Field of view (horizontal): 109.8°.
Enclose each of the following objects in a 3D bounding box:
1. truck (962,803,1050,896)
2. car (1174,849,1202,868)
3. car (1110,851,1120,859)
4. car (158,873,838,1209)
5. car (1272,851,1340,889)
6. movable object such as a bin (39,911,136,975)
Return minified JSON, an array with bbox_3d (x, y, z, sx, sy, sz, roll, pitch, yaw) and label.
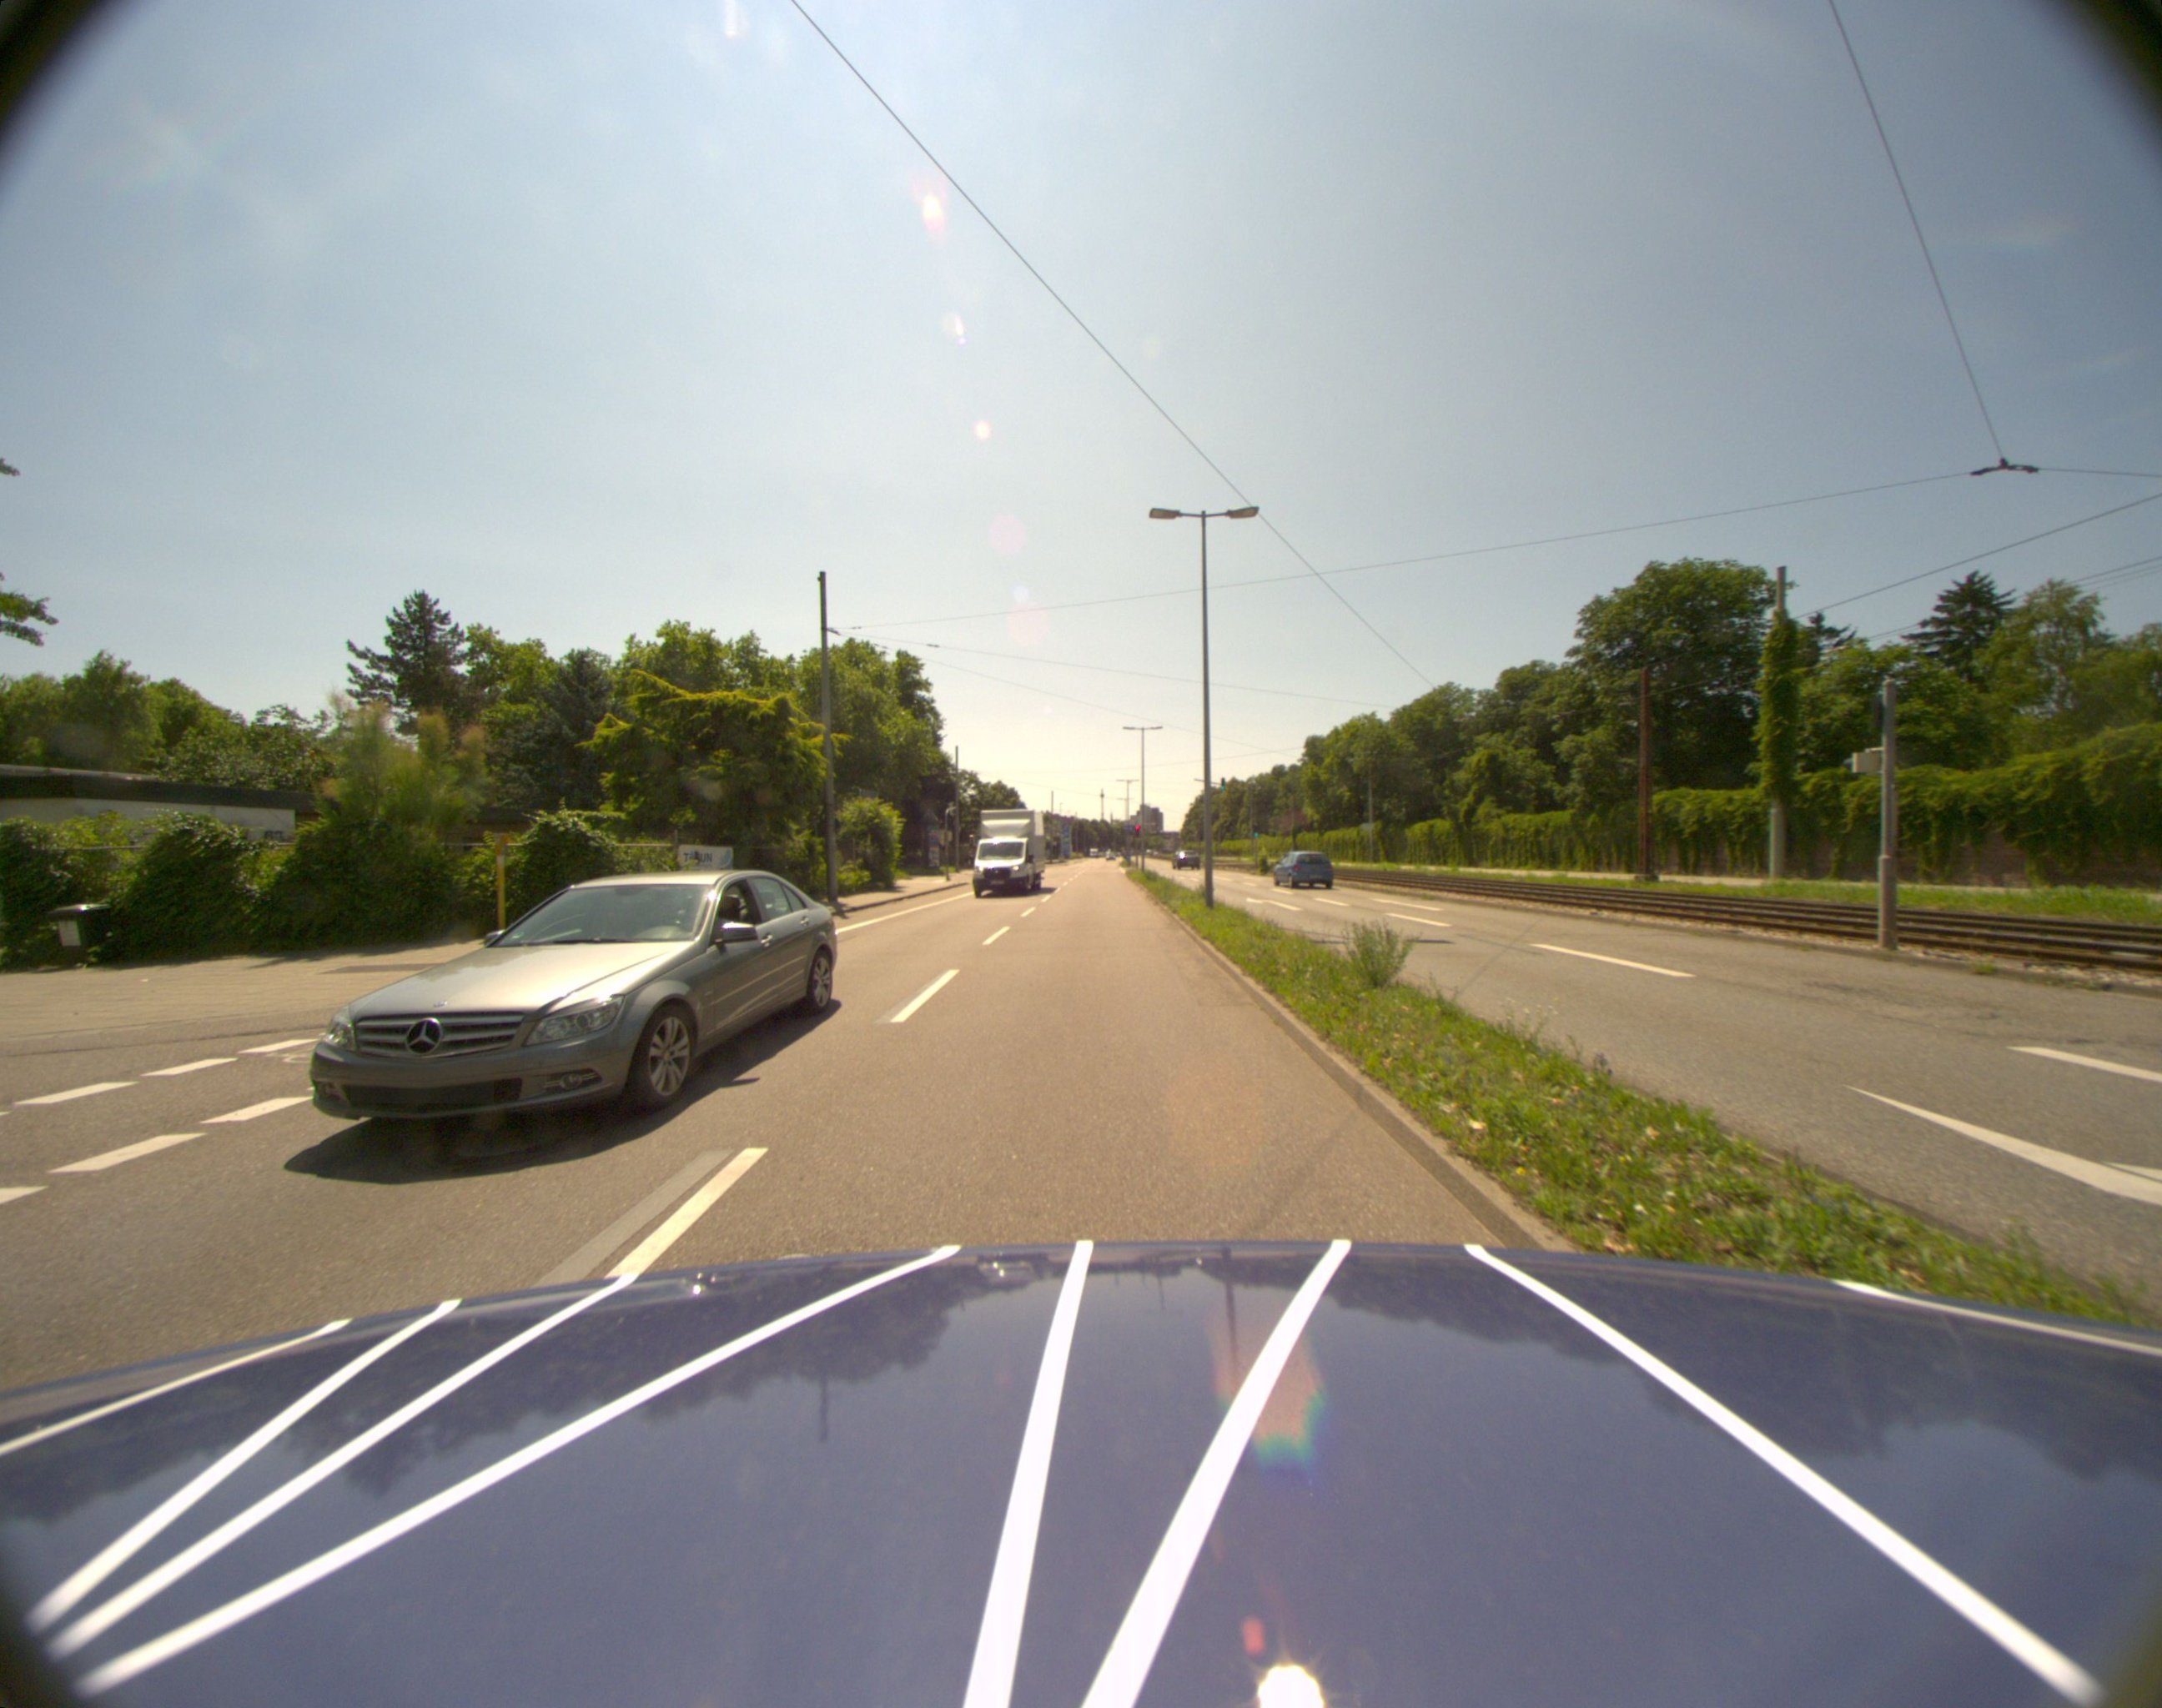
[{"bbox_3d":[-2.826,-0.206,31.069,2.294,3.259,8.312,-2,1,3],"label":"truck"},{"bbox_3d":[8.667,0.373,61.876,1.765,1.512,4.096,0,0,0],"label":"car"},{"bbox_3d":[6.408,0.164,141.522,1.829,1.556,4.001,-1,0,3],"label":"car"},{"bbox_3d":[-3.472,0.968,5.681,1.903,1.451,3.971,-1,1,2],"label":"car"},{"bbox_3d":[8.973,0.598,30.571,1.699,1.462,3.790,0,0,1],"label":"car"},{"bbox_3d":[-15.399,1.366,11.788,0.630,0.898,0.637,-1,1,3],"label":"movable object such as a bin"}]
